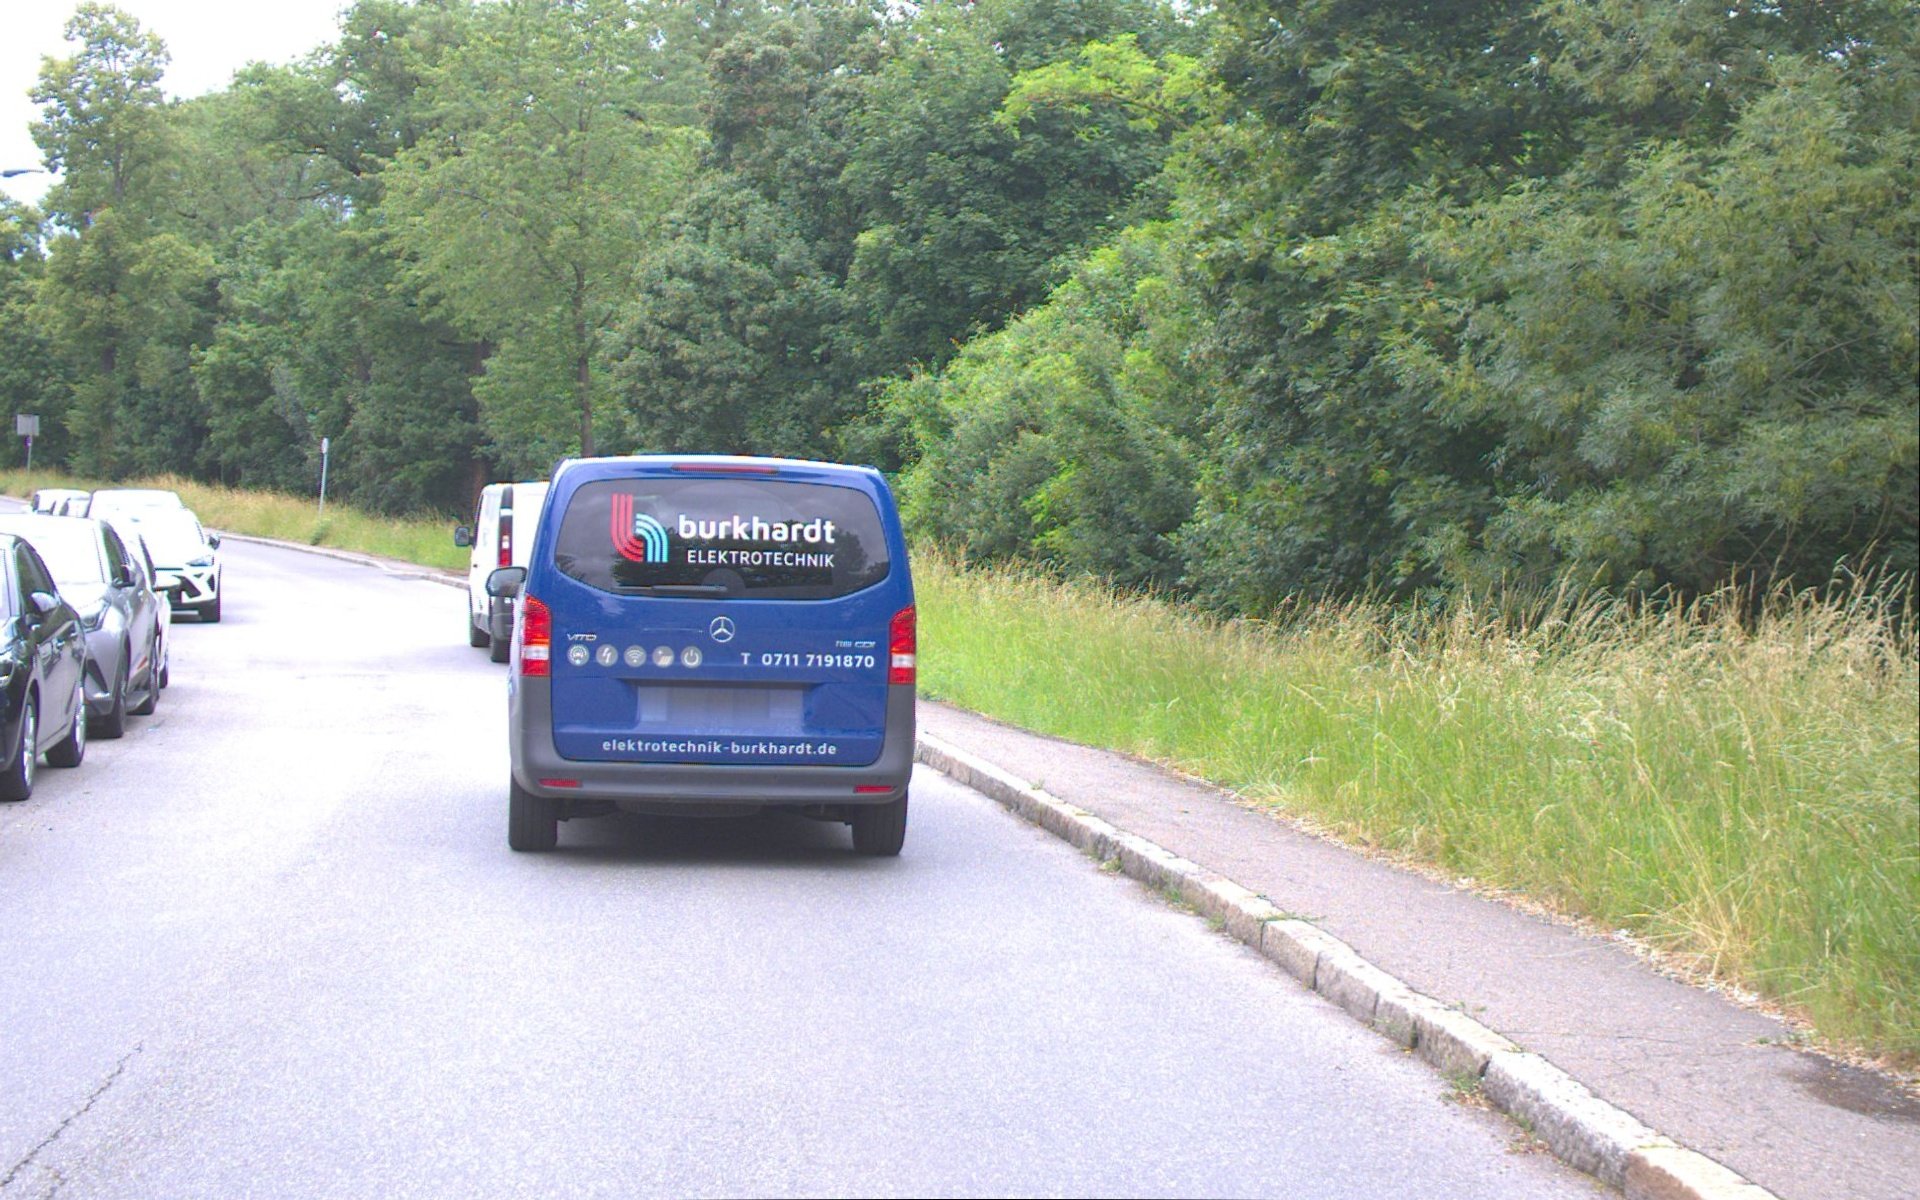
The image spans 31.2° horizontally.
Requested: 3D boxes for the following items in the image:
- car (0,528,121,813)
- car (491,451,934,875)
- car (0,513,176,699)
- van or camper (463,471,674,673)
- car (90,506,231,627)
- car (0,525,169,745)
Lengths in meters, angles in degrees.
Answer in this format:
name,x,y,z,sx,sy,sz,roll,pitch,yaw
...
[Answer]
name,x,y,z,sx,sy,sz,roll,pitch,yaw
car,-5.906,0.306,19.738,1.649,1.436,4.334,2,1,-8
car,-1.369,0.255,17.329,1.913,1.831,4.295,1,1,-8
car,-7.774,0.003,30.139,1.622,1.475,3.929,2,1,-12
van or camper,-4.415,-0.376,38.174,2.019,1.950,4.898,2,2,-9
car,-11.048,-0.493,47.384,1.724,1.487,4.415,4,1,-14
car,-6.881,0.192,25.235,1.761,1.475,4.128,0,1,-8
